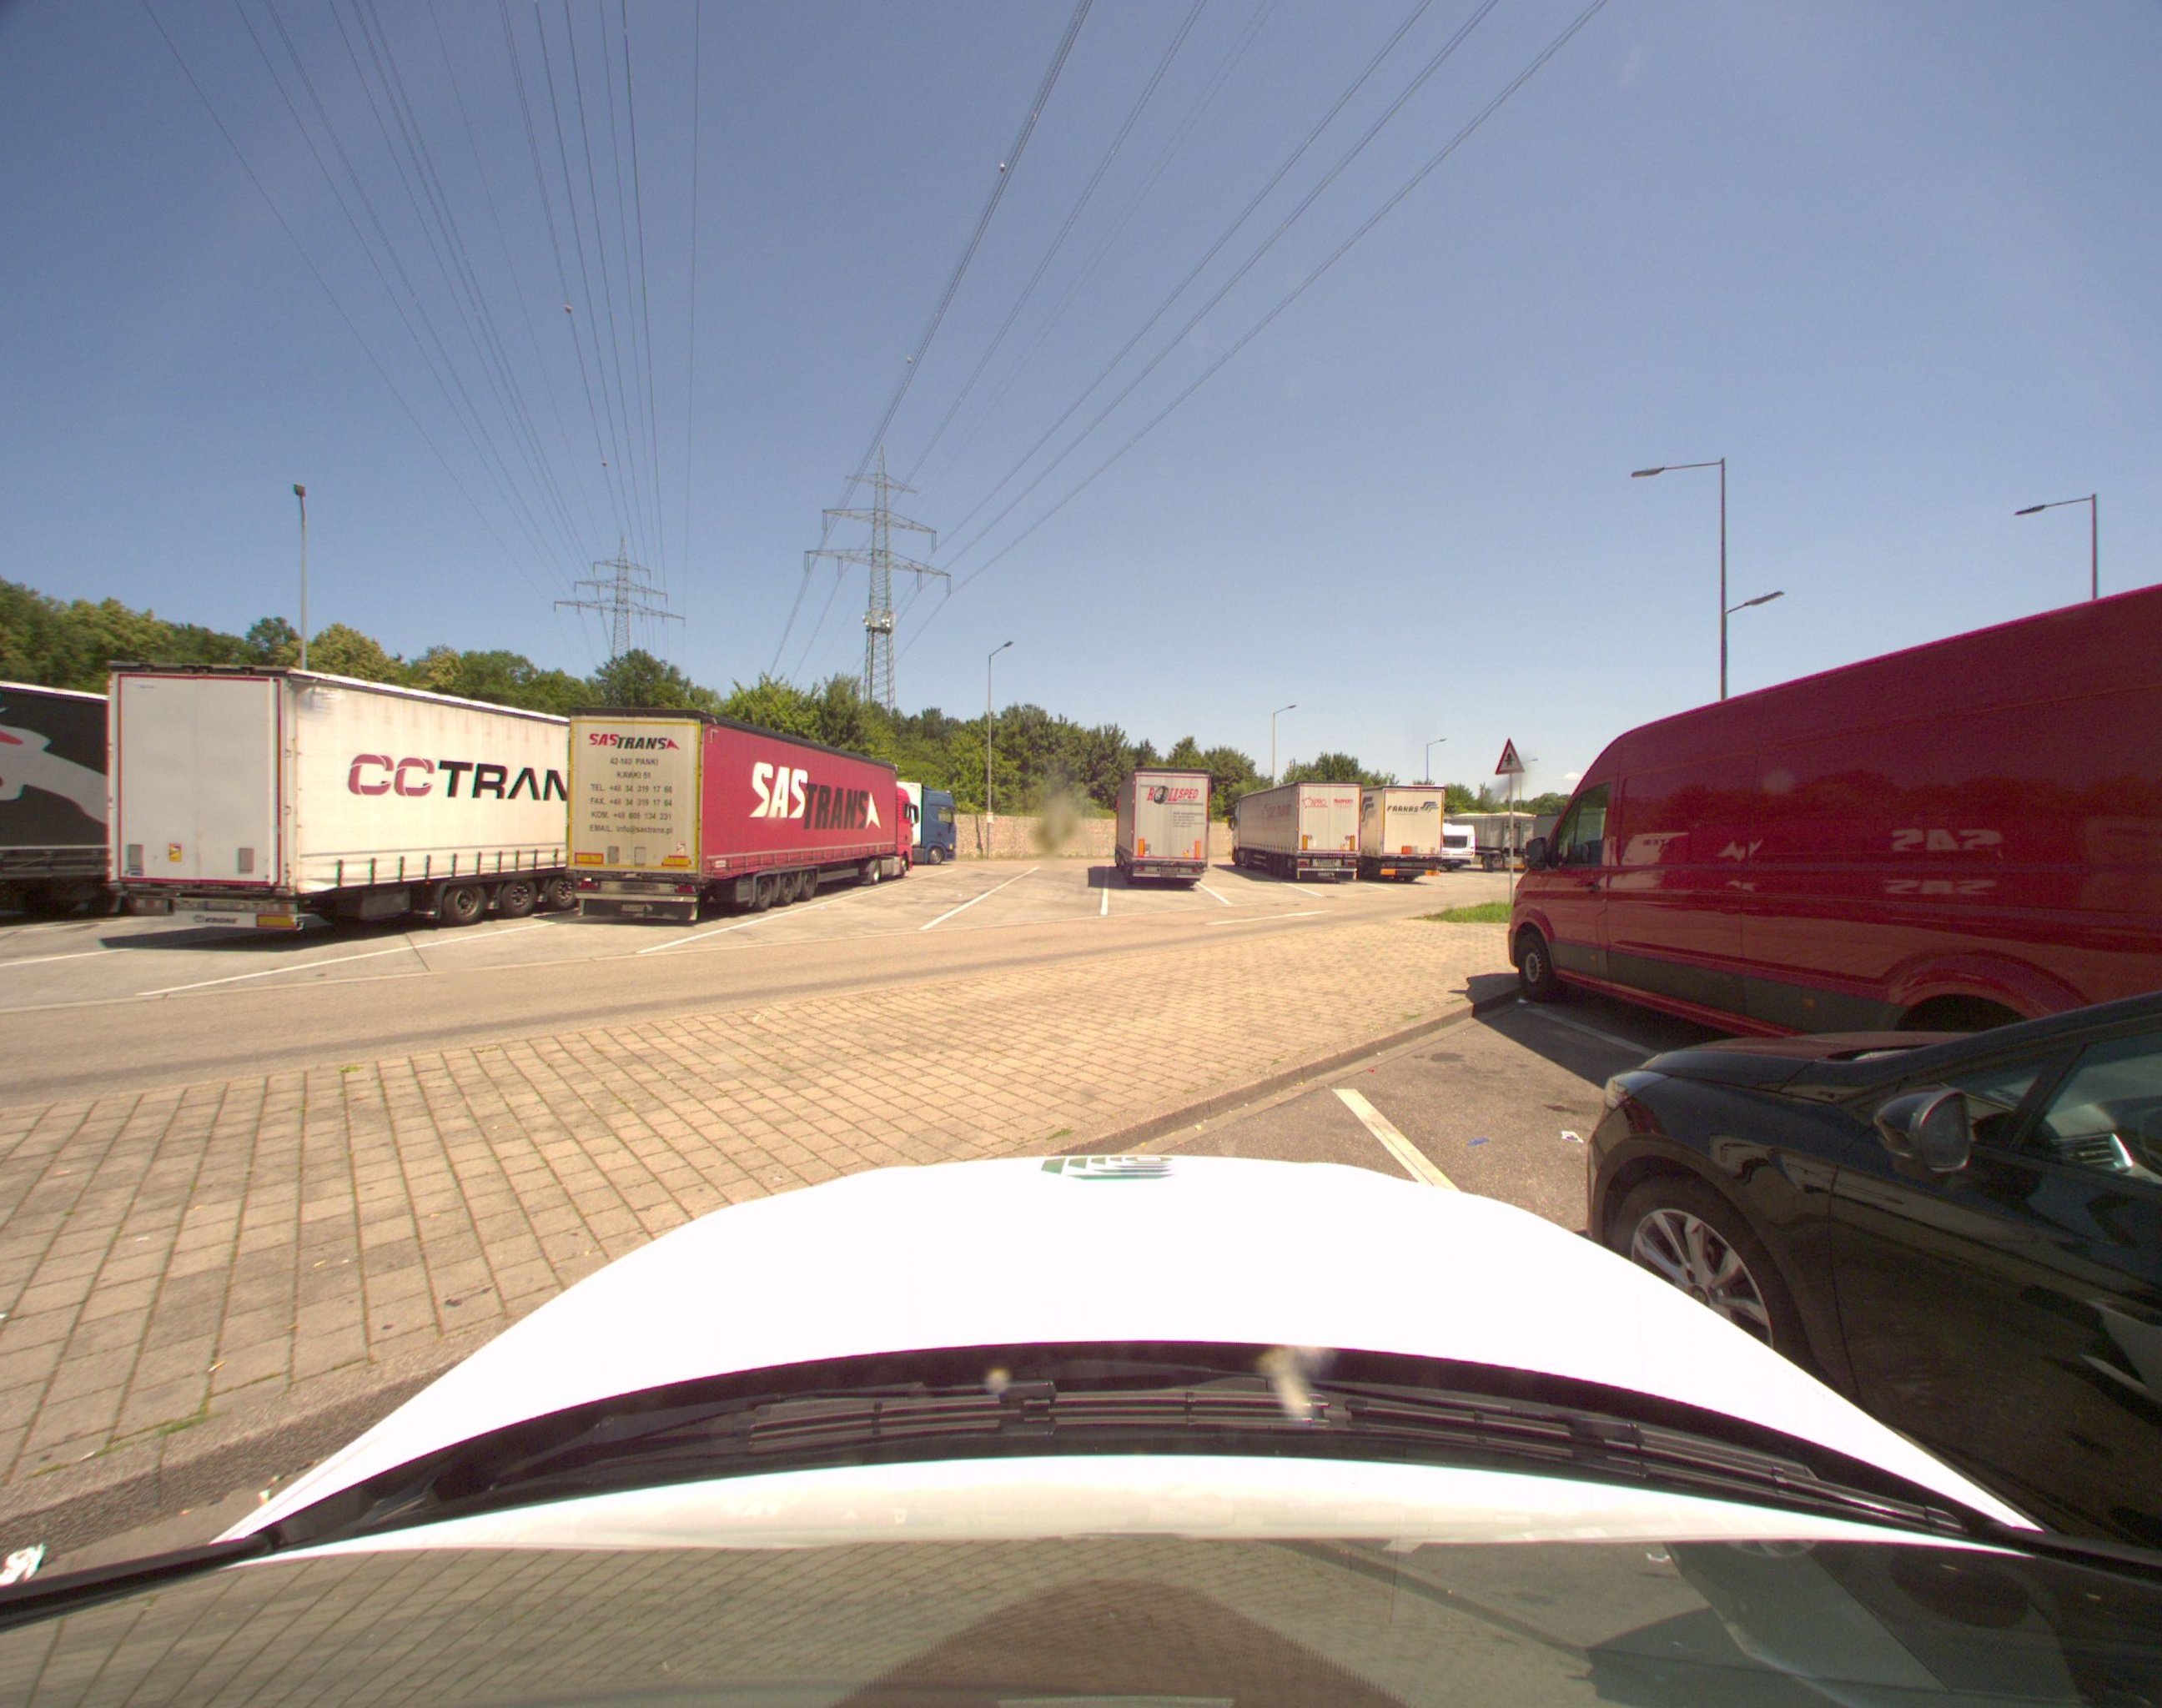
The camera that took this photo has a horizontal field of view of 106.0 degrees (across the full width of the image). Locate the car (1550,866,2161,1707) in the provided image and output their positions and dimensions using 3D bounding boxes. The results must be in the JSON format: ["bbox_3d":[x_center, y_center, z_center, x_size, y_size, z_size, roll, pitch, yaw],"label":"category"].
[{"bbox_3d":[2.547,0.762,0.935,1.772,1.457,3.682,0,-1,-3],"label":"car"}]

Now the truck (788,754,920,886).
[{"bbox_3d":[-7.766,-1.109,28.710,2.795,4.133,5.896,-1,1,2],"label":"truck"}]

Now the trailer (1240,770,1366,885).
[{"bbox_3d":[9.886,-1.122,38.128,2.672,4.452,12.833,-1,1,1],"label":"trailer"}]

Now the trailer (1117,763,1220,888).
[{"bbox_3d":[3.107,-1.013,32.175,2.887,4.013,11.317,-1,1,0],"label":"trailer"}]

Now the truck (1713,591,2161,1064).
[{"bbox_3d":[7.791,-0.154,6.124,2.508,2.827,4.821,0,-1,3],"label":"truck"}]

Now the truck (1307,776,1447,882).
[{"bbox_3d":[13.517,-0.949,38.608,2.577,4.226,11.974,0,0,2],"label":"truck"}]

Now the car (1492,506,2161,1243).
[{"bbox_3d":[5.110,0.028,5.491,1.984,2.633,6.393,-1,1,5],"label":"car"}]

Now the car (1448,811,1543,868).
[{"bbox_3d":[24.118,-0.831,47.754,2.490,3.074,6.353,-1,1,2],"label":"car"}]

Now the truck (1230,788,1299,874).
[{"bbox_3d":[10.061,-1.244,45.244,2.651,4.452,5.866,-1,1,2],"label":"truck"}]

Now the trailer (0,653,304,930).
[{"bbox_3d":[-18.575,-1.018,14.863,2.668,4.444,6.151,-1,1,2],"label":"trailer"}]

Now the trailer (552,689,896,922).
[{"bbox_3d":[-8.016,-0.980,21.453,2.789,4.219,13.208,-1,1,2],"label":"trailer"}]

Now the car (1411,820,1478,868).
[{"bbox_3d":[20.520,-0.528,46.132,2.107,2.599,4.001,0,-1,2],"label":"car"}]

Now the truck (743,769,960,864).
[{"bbox_3d":[-10.598,-1.599,38.890,10.112,4.033,2.214,0,0,-45],"label":"truck"}]

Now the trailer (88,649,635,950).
[{"bbox_3d":[-12.201,-0.816,15.385,2.744,4.152,8.291,0,1,2],"label":"trailer"}]

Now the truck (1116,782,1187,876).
[{"bbox_3d":[3.141,-1.097,37.742,2.861,3.980,6.030,0,1,1],"label":"truck"}]
